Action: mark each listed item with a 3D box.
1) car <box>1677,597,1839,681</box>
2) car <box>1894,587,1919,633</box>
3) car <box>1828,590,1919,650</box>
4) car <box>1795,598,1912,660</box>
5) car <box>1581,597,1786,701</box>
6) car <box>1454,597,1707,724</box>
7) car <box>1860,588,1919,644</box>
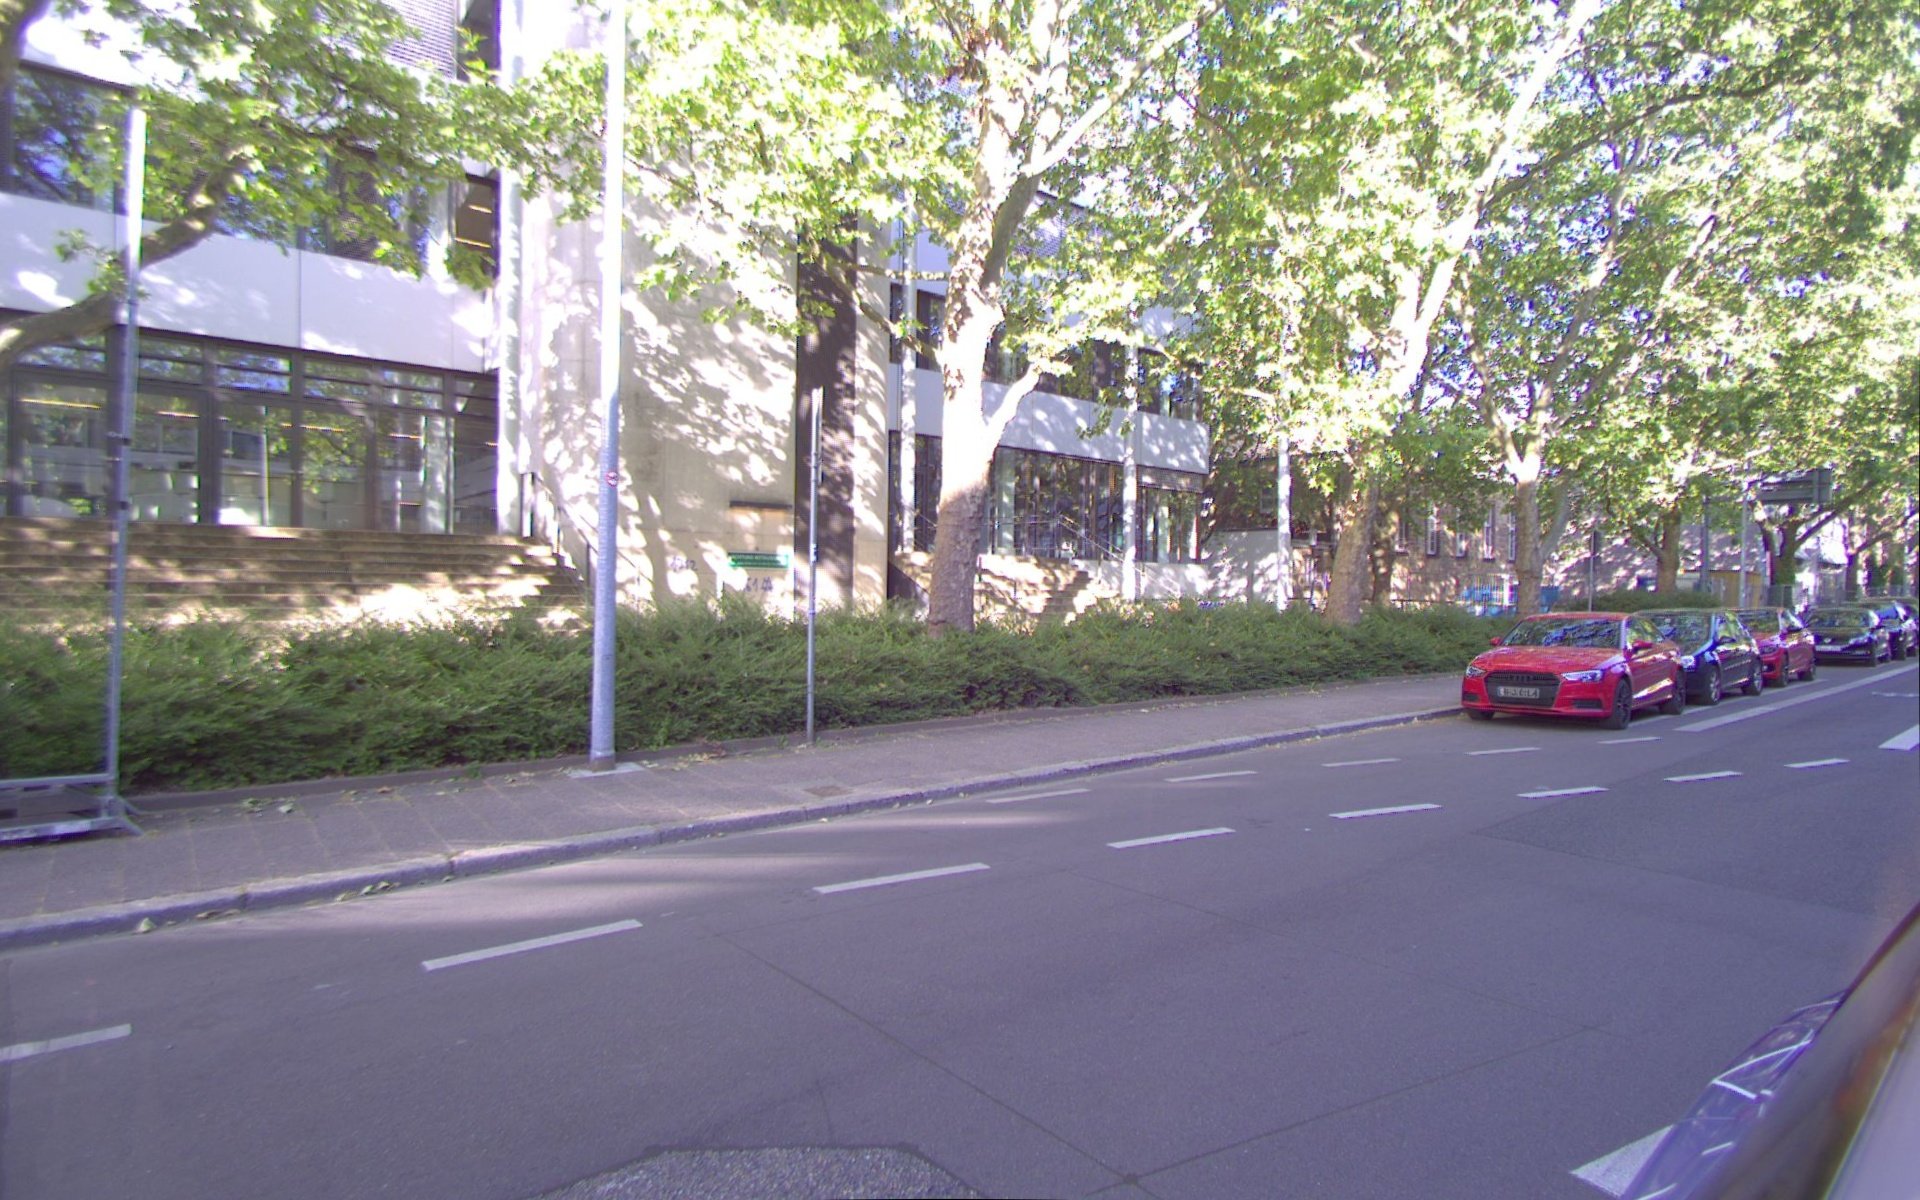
[{"bbox_3d":[15.727,0.686,19.878,3.930,1.456,1.789,0,1,-41],"label":"car"},{"bbox_3d":[35.750,0.360,37.084,4.004,1.638,1.797,0,1,-41],"label":"car"},{"bbox_3d":[26.657,0.523,29.202,4.158,1.601,1.847,0,1,-41],"label":"car"},{"bbox_3d":[22.993,0.679,26.005,3.930,1.456,1.744,0,1,-41],"label":"car"},{"bbox_3d":[11.921,0.710,16.603,3.929,1.475,1.812,0,1,-40],"label":"car"},{"bbox_3d":[8.381,0.692,13.527,4.101,1.443,1.773,0,-1,-42],"label":"car"},{"bbox_3d":[31.091,0.479,33.063,4.188,1.747,1.997,-1,0,-41],"label":"car"}]
